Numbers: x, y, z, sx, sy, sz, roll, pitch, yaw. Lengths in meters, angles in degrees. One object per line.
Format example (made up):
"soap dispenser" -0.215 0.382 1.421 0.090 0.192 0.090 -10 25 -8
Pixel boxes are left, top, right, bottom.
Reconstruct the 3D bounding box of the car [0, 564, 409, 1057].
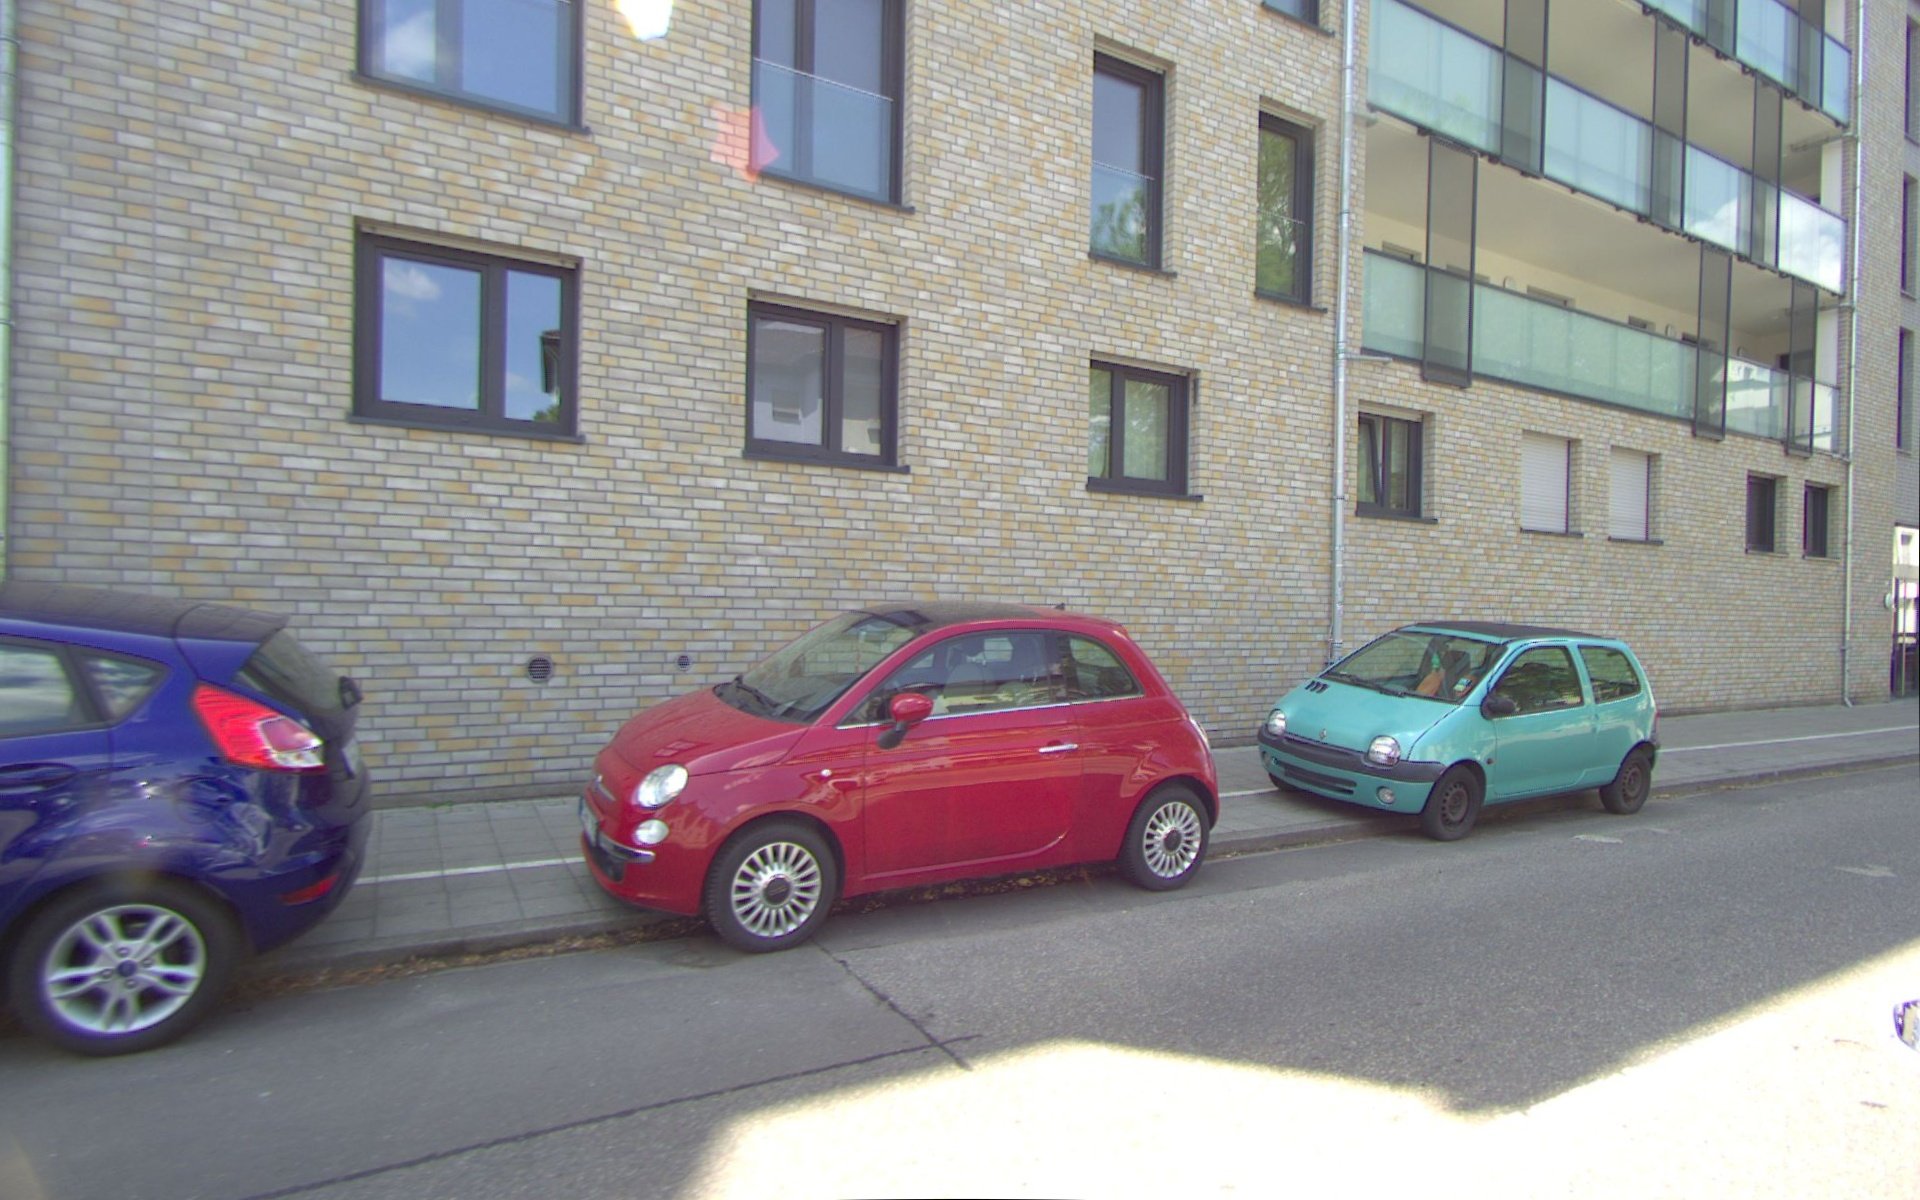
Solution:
"car" -4.118 0.599 3.331 3.956 1.476 1.715 2 1 -29

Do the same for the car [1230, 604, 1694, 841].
"car" 4.111 0.841 8.120 3.660 1.476 1.583 2 2 -31

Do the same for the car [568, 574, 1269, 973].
"car" -0.158 0.715 5.548 3.529 1.574 1.583 2 0 -31
